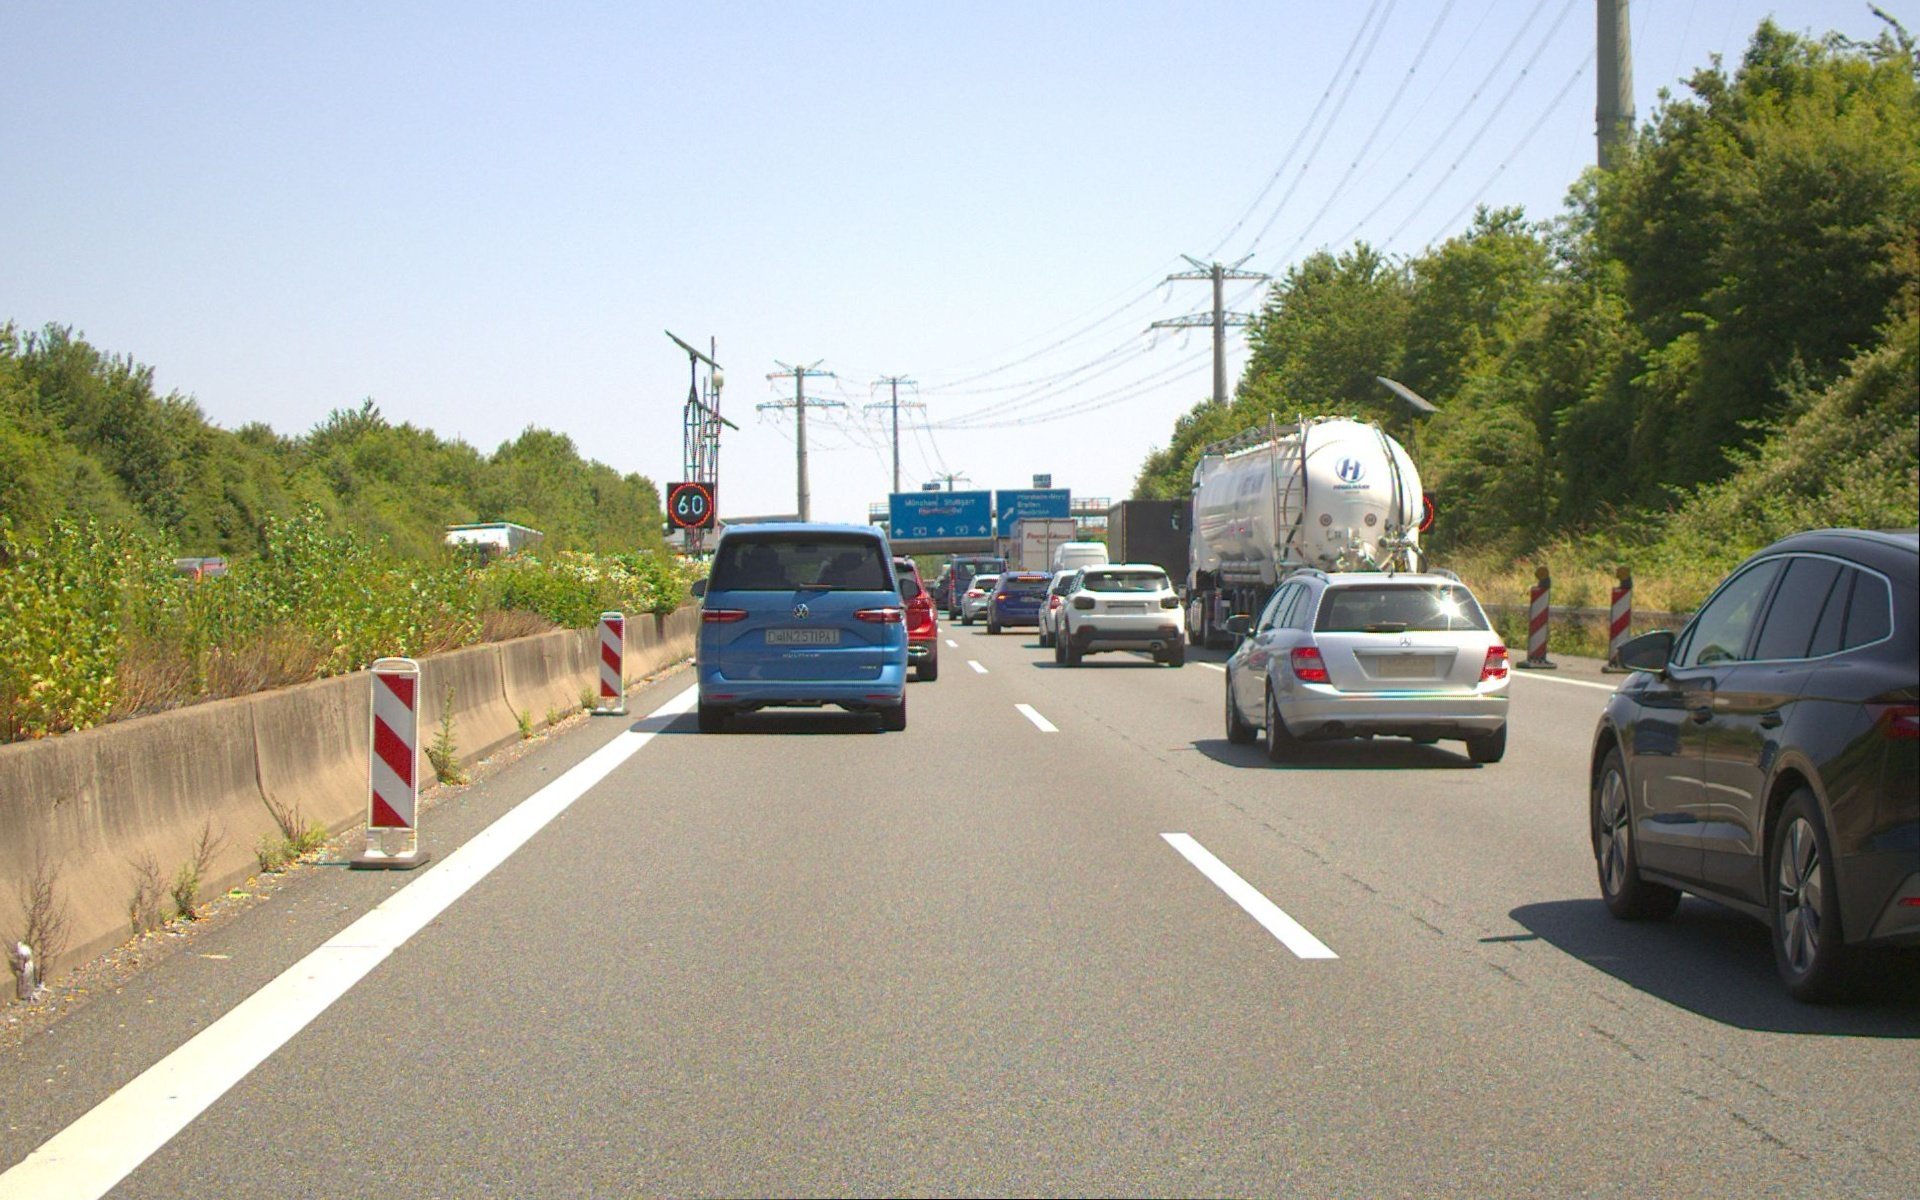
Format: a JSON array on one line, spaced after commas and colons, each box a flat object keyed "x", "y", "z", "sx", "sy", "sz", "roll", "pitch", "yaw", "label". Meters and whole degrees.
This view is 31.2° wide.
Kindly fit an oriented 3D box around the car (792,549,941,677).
[{"x": -1.282, "y": 0.147, "z": 46.036, "sx": 1.908, "sy": 1.625, "sz": 4.384, "roll": 0, "pitch": 0, "yaw": -2, "label": "car"}]

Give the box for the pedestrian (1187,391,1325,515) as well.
[{"x": 5.128, "y": -2.535, "z": 60.028, "sx": 1.993, "sy": 2.007, "sz": 4.000, "roll": 1, "pitch": 0, "yaw": -1, "label": "pedestrian"}]

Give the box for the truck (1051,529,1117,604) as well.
[{"x": 4.577, "y": -1.242, "z": 128.019, "sx": 1.993, "sy": 2.714, "sz": 5.680, "roll": 1, "pitch": 0, "yaw": -2, "label": "truck"}]

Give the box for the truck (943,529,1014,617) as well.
[{"x": 0.558, "y": -0.856, "z": 109.689, "sx": 1.993, "sy": 2.714, "sz": 5.680, "roll": 1, "pitch": 0, "yaw": -2, "label": "truck"}]

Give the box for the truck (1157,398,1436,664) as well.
[{"x": 5.651, "y": -1.127, "z": 61.121, "sx": 2.644, "sy": 4.058, "sz": 16.442, "roll": 1, "pitch": 0, "yaw": -2, "label": "truck"}]

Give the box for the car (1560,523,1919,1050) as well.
[{"x": 3.605, "y": 0.543, "z": 12.744, "sx": 1.828, "sy": 1.609, "sz": 4.431, "roll": 0, "pitch": 1, "yaw": -2, "label": "car"}]

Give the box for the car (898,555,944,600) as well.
[{"x": -1.770, "y": -1.016, "z": 154.799, "sx": 1.993, "sy": 2.007, "sz": 4.000, "roll": 1, "pitch": 0, "yaw": -1, "label": "car"}]

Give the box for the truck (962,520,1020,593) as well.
[{"x": 1.839, "y": -2.621, "z": 209.807, "sx": 2.937, "sy": 4.276, "sz": 12.553, "roll": 1, "pitch": 0, "yaw": -2, "label": "truck"}]

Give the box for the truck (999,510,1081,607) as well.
[{"x": 3.581, "y": -1.881, "z": 157.827, "sx": 2.937, "sy": 4.276, "sz": 12.553, "roll": 1, "pitch": 0, "yaw": -2, "label": "truck"}]

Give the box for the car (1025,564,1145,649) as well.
[{"x": 2.393, "y": 0.100, "z": 66.761, "sx": 1.908, "sy": 1.564, "sz": 4.384, "roll": 1, "pitch": 0, "yaw": -3, "label": "car"}]

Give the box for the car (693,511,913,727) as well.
[{"x": -1.544, "y": 0.150, "z": 32.344, "sx": 1.870, "sy": 1.873, "sz": 4.384, "roll": 1, "pitch": 0, "yaw": -5, "label": "car"}]

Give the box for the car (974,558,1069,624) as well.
[{"x": 1.423, "y": -0.224, "z": 80.976, "sx": 1.908, "sy": 1.511, "sz": 4.384, "roll": 1, "pitch": 0, "yaw": -3, "label": "car"}]

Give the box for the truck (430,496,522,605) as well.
[{"x": -19.578, "y": -1.991, "z": 139.356, "sx": 2.751, "sy": 4.152, "sz": 6.411, "roll": -4, "pitch": 1, "yaw": -2, "label": "truck"}]

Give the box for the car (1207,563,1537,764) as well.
[{"x": 3.127, "y": 0.440, "z": 26.971, "sx": 1.821, "sy": 1.432, "sz": 4.384, "roll": 1, "pitch": 0, "yaw": -3, "label": "car"}]

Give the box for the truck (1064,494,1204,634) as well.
[{"x": 4.631, "y": -0.965, "z": 93.824, "sx": 2.644, "sy": 3.526, "sz": 12.553, "roll": 1, "pitch": 0, "yaw": -2, "label": "truck"}]

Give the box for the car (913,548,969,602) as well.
[{"x": -0.764, "y": -0.973, "z": 132.514, "sx": 1.993, "sy": 2.007, "sz": 4.000, "roll": 1, "pitch": 0, "yaw": -2, "label": "car"}]

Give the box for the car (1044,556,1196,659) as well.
[{"x": 2.394, "y": 0.095, "z": 52.442, "sx": 1.908, "sy": 1.503, "sz": 3.922, "roll": 1, "pitch": 0, "yaw": -3, "label": "car"}]

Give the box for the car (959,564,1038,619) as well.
[{"x": 1.056, "y": -0.251, "z": 96.637, "sx": 1.908, "sy": 1.511, "sz": 4.384, "roll": 1, "pitch": 0, "yaw": -3, "label": "car"}]
